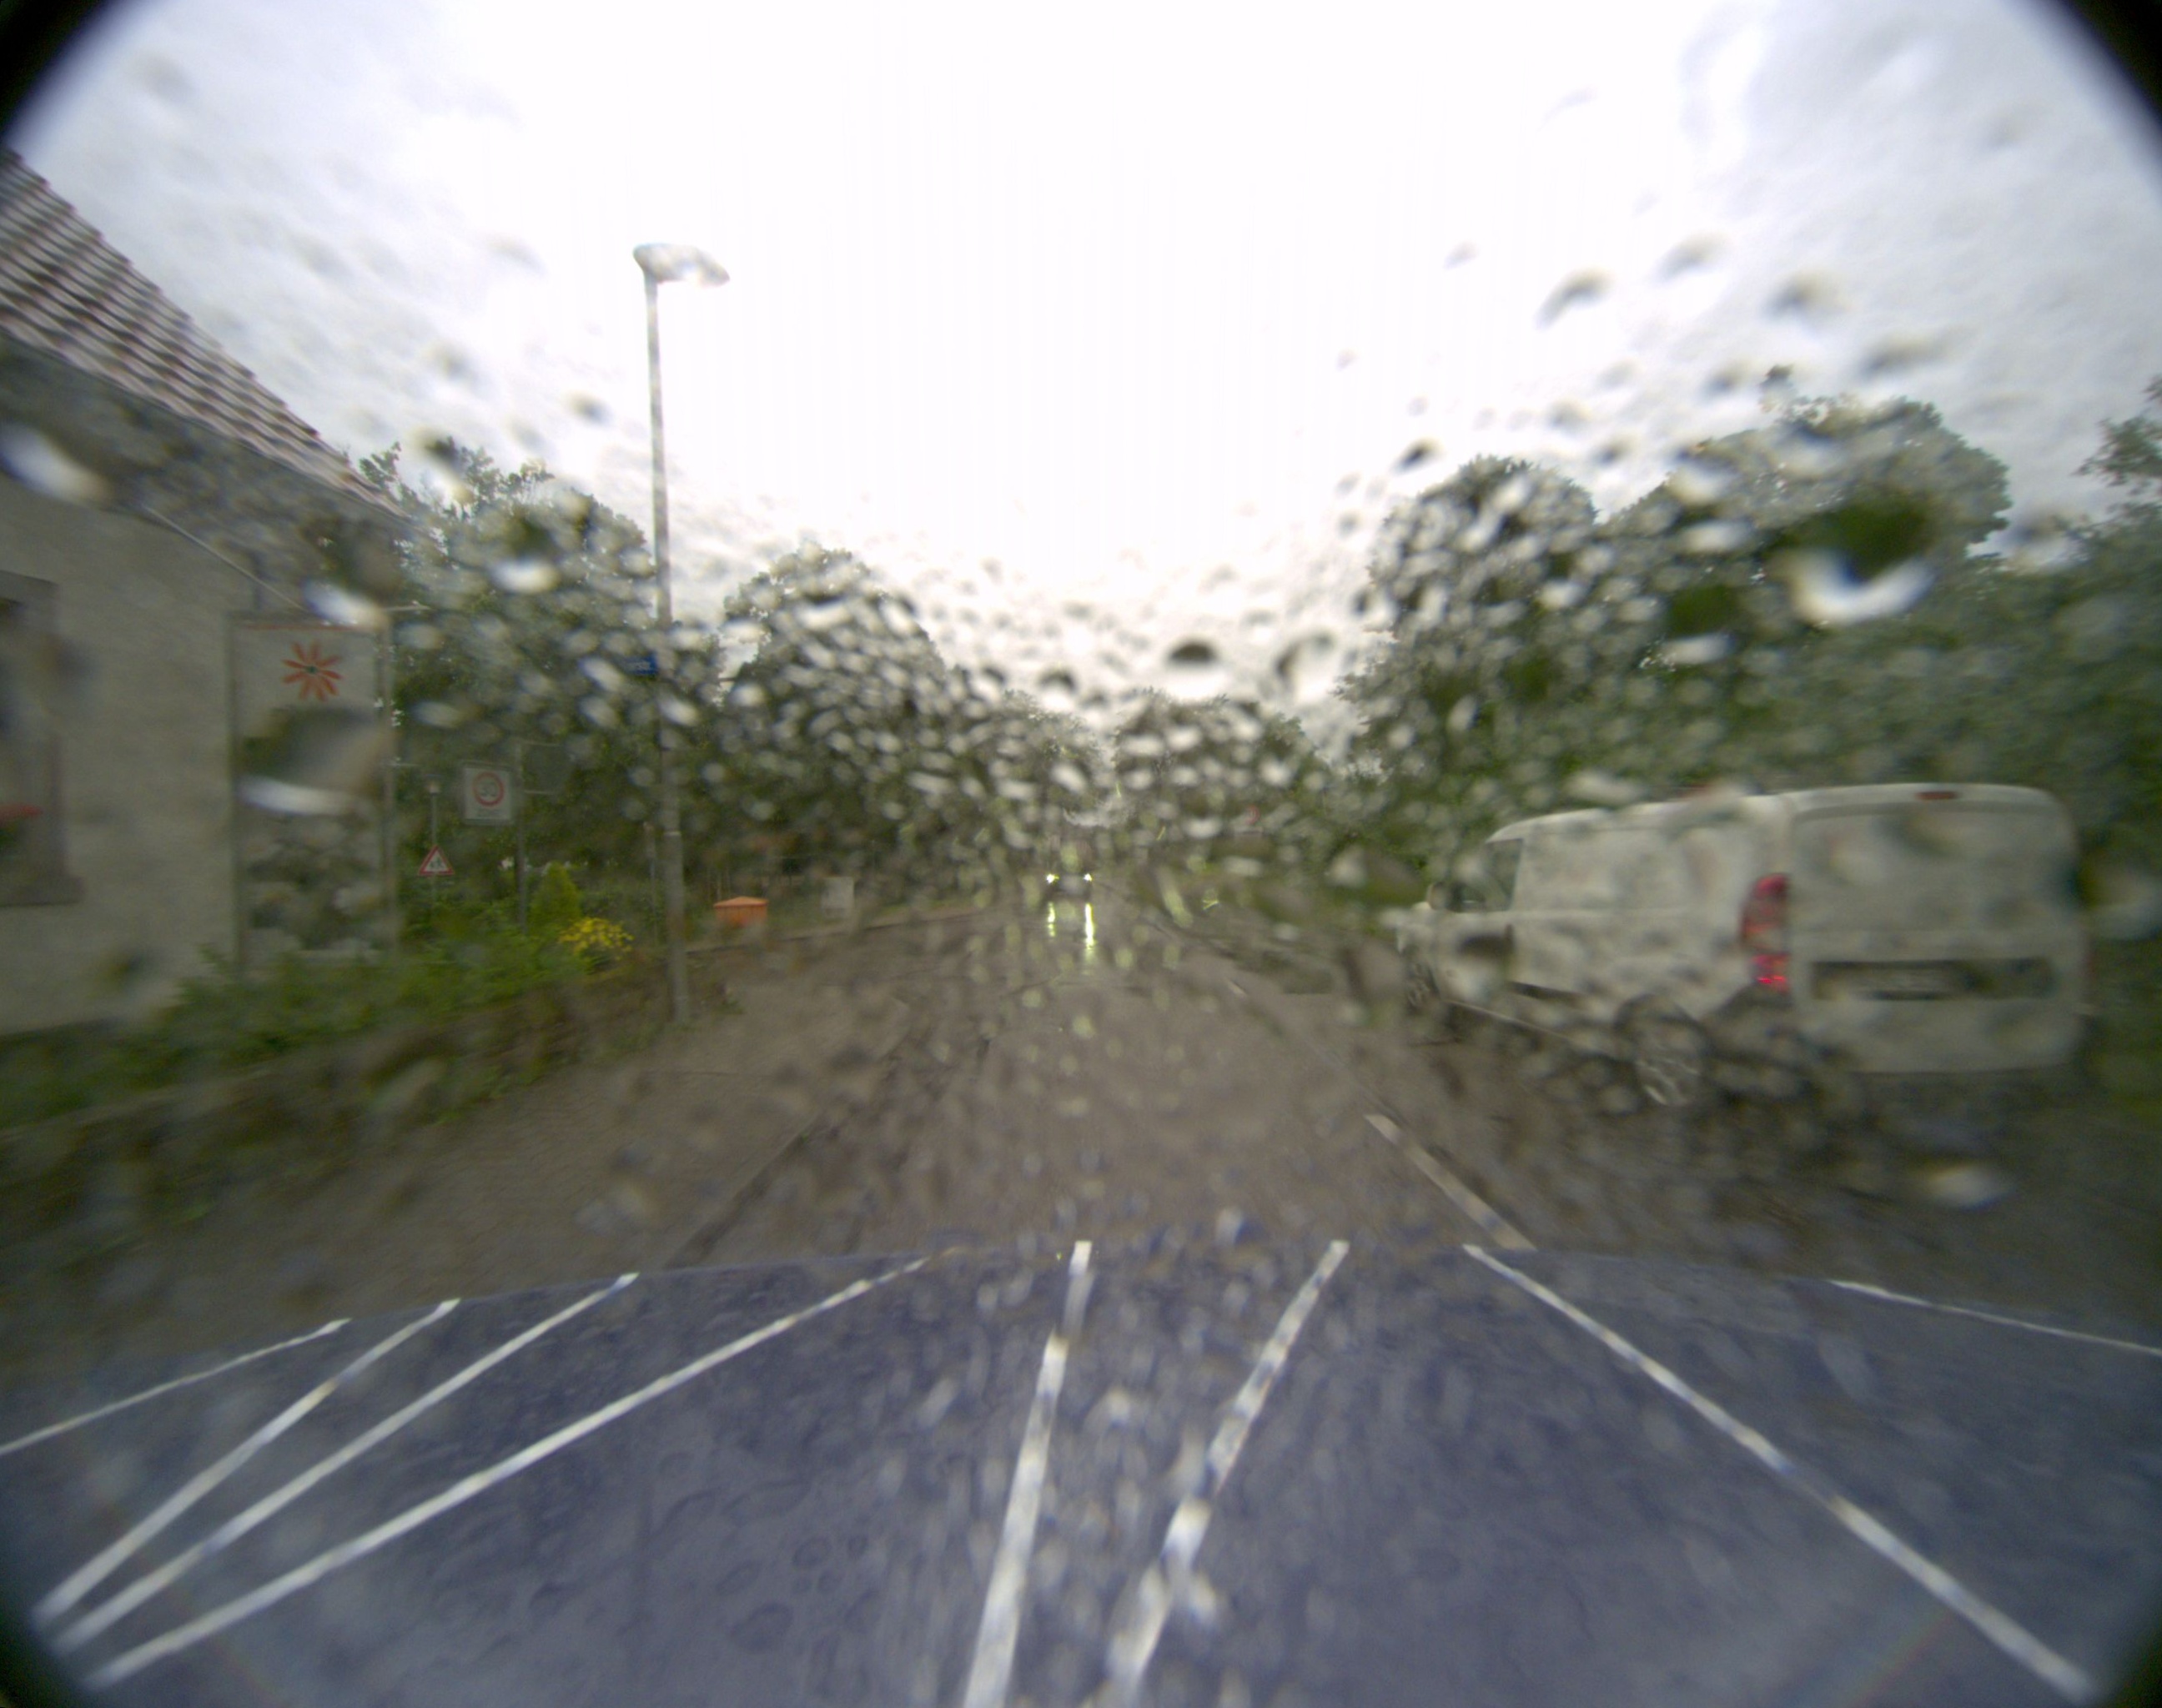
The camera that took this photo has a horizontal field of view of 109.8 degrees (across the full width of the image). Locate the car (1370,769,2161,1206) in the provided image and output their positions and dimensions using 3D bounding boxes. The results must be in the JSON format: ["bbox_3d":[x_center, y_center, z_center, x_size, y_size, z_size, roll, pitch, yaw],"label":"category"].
[{"bbox_3d":[3.908,0.547,5.420,1.828,1.821,4.305,-2,1,-3],"label":"car"}]

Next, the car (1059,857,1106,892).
[{"bbox_3d":[0.012,0.827,31.360,1.668,1.290,3.517,-2,-1,-4],"label":"car"}]
